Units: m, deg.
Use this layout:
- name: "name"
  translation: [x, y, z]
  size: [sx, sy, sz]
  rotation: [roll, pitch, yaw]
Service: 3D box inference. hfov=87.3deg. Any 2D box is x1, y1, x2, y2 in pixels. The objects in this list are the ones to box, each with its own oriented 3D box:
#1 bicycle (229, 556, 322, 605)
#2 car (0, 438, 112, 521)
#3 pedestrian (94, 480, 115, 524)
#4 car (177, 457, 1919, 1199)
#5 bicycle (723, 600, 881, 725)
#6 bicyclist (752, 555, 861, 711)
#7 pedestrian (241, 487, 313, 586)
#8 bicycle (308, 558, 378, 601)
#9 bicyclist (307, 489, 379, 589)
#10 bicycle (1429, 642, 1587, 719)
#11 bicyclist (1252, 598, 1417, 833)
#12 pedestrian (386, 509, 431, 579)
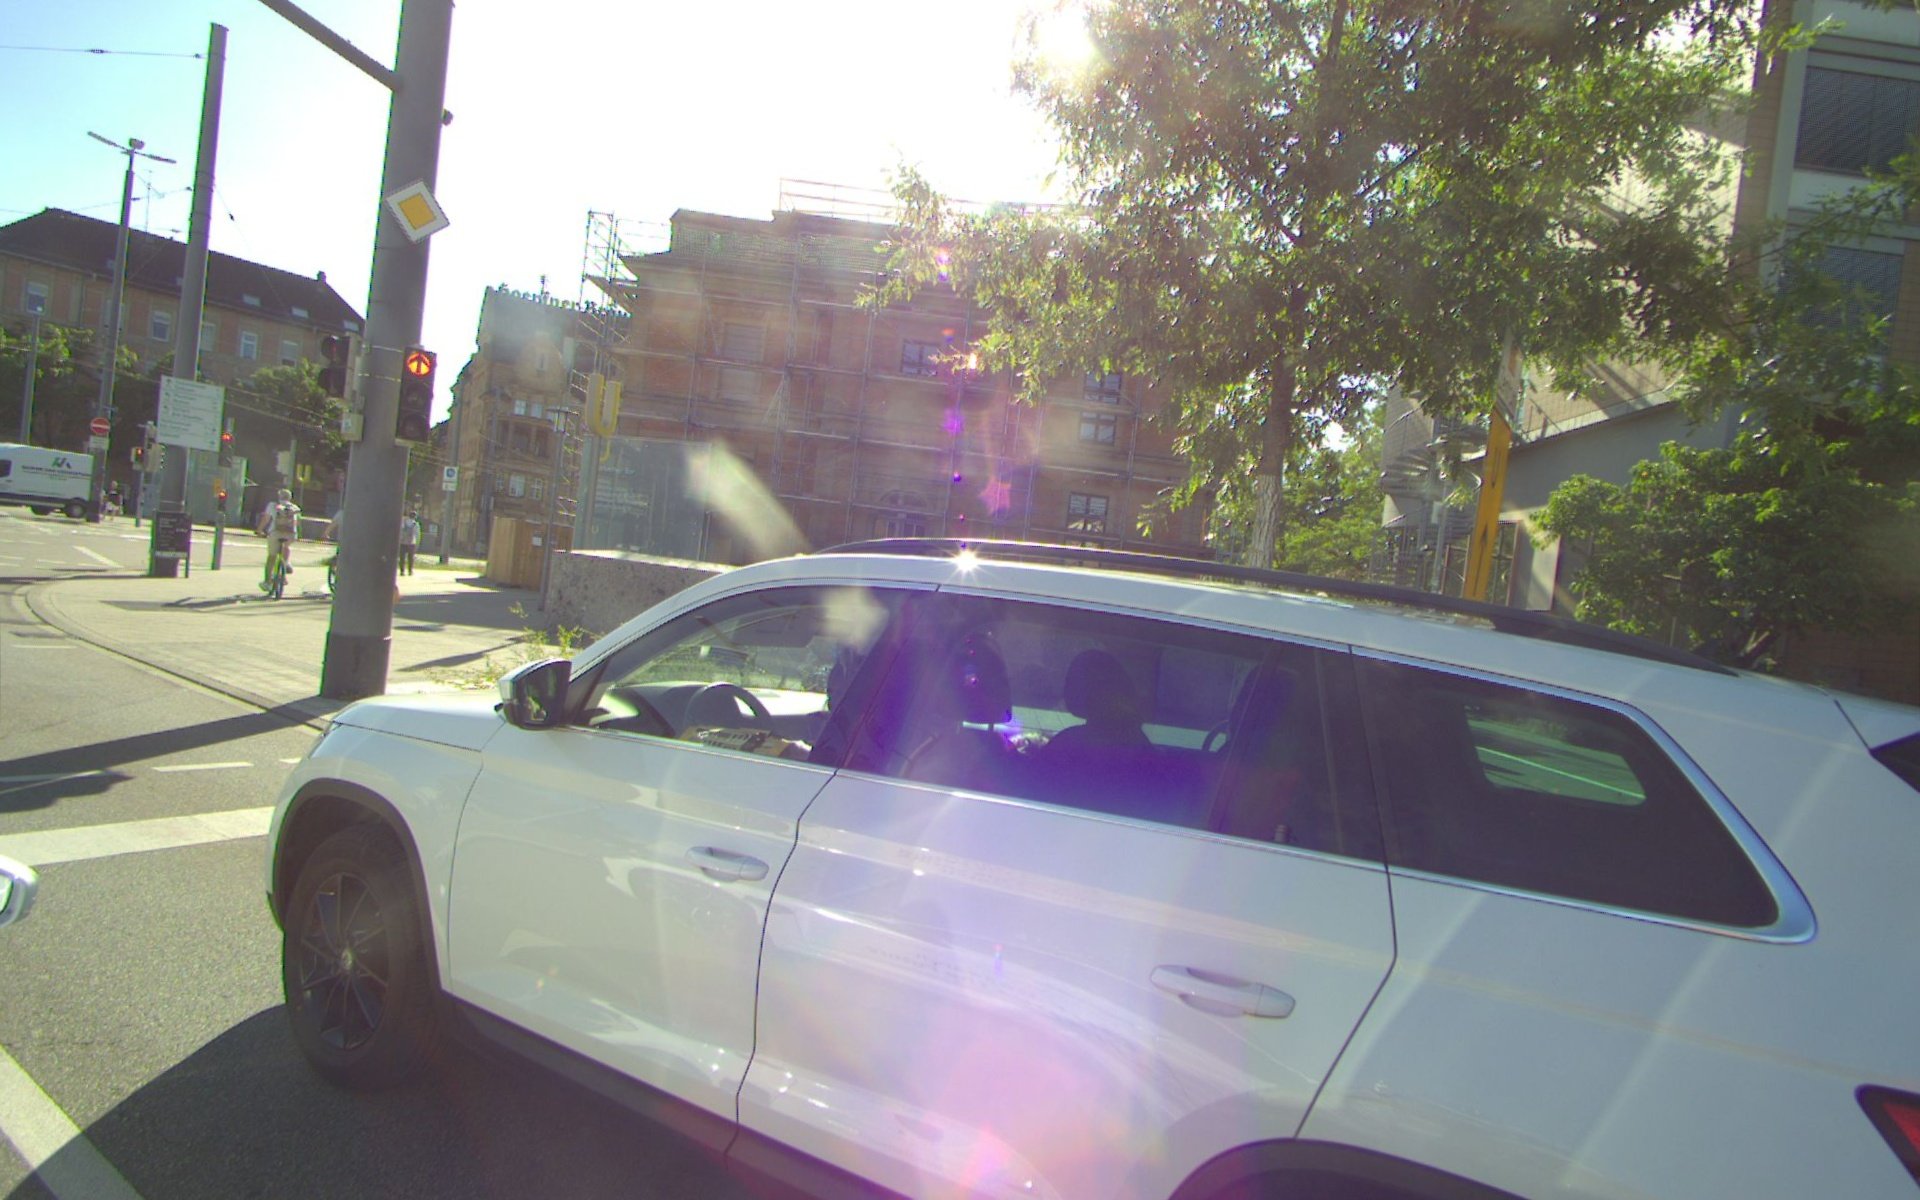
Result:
- name: "bicycle"
  translation: [-11.811, -0.337, 17.350]
  size: [1.695, 0.664, 0.537]
  rotation: [7, 3, 26]
- name: "car"
  translation: [-38.322, -5.019, 40.751]
  size: [2.103, 2.778, 5.926]
  rotation: [7, 0, 10]
- name: "pedestrian"
  translation: [-41.523, -4.752, 48.819]
  size: [0.443, 2.039, 0.462]
  rotation: [7, 2, 14]
- name: "car"
  translation: [-0.048, 0.680, 2.692]
  size: [4.224, 1.662, 1.697]
  rotation: [7, 0, 30]
- name: "bicycle"
  translation: [-1.778, 0.656, 11.176]
  size: [1.712, 1.140, 0.571]
  rotation: [7, 4, 33]
- name: "bicyclist"
  translation: [-1.704, 0.347, 11.127]
  size: [0.931, 1.590, 0.571]
  rotation: [7, 4, 32]
- name: "pedestrian"
  translation: [-11.752, -1.087, 17.312]
  size: [0.843, 1.582, 0.549]
  rotation: [7, 1, 27]
- name: "bicycle"
  translation: [-11.889, -0.401, 19.381]
  size: [1.443, 0.664, 0.537]
  rotation: [7, 2, 33]
- name: "bicyclist"
  translation: [-11.901, -1.177, 19.410]
  size: [0.909, 1.802, 0.747]
  rotation: [8, 2, 33]
- name: "bicycle"
  translation: [13.048, 1.905, 24.040]
  size: [3.079, 1.395, 0.798]
  rotation: [7, 1, 8]
- name: "bicyclist"
  translation: [2.982, 0.880, 7.999]
  size: [0.977, 1.658, 0.626]
  rotation: [7, 1, 27]
- name: "pedestrian"
  translation: [-16.031, -1.618, 29.280]
  size: [0.887, 1.883, 0.922]
  rotation: [6, 1, -23]
